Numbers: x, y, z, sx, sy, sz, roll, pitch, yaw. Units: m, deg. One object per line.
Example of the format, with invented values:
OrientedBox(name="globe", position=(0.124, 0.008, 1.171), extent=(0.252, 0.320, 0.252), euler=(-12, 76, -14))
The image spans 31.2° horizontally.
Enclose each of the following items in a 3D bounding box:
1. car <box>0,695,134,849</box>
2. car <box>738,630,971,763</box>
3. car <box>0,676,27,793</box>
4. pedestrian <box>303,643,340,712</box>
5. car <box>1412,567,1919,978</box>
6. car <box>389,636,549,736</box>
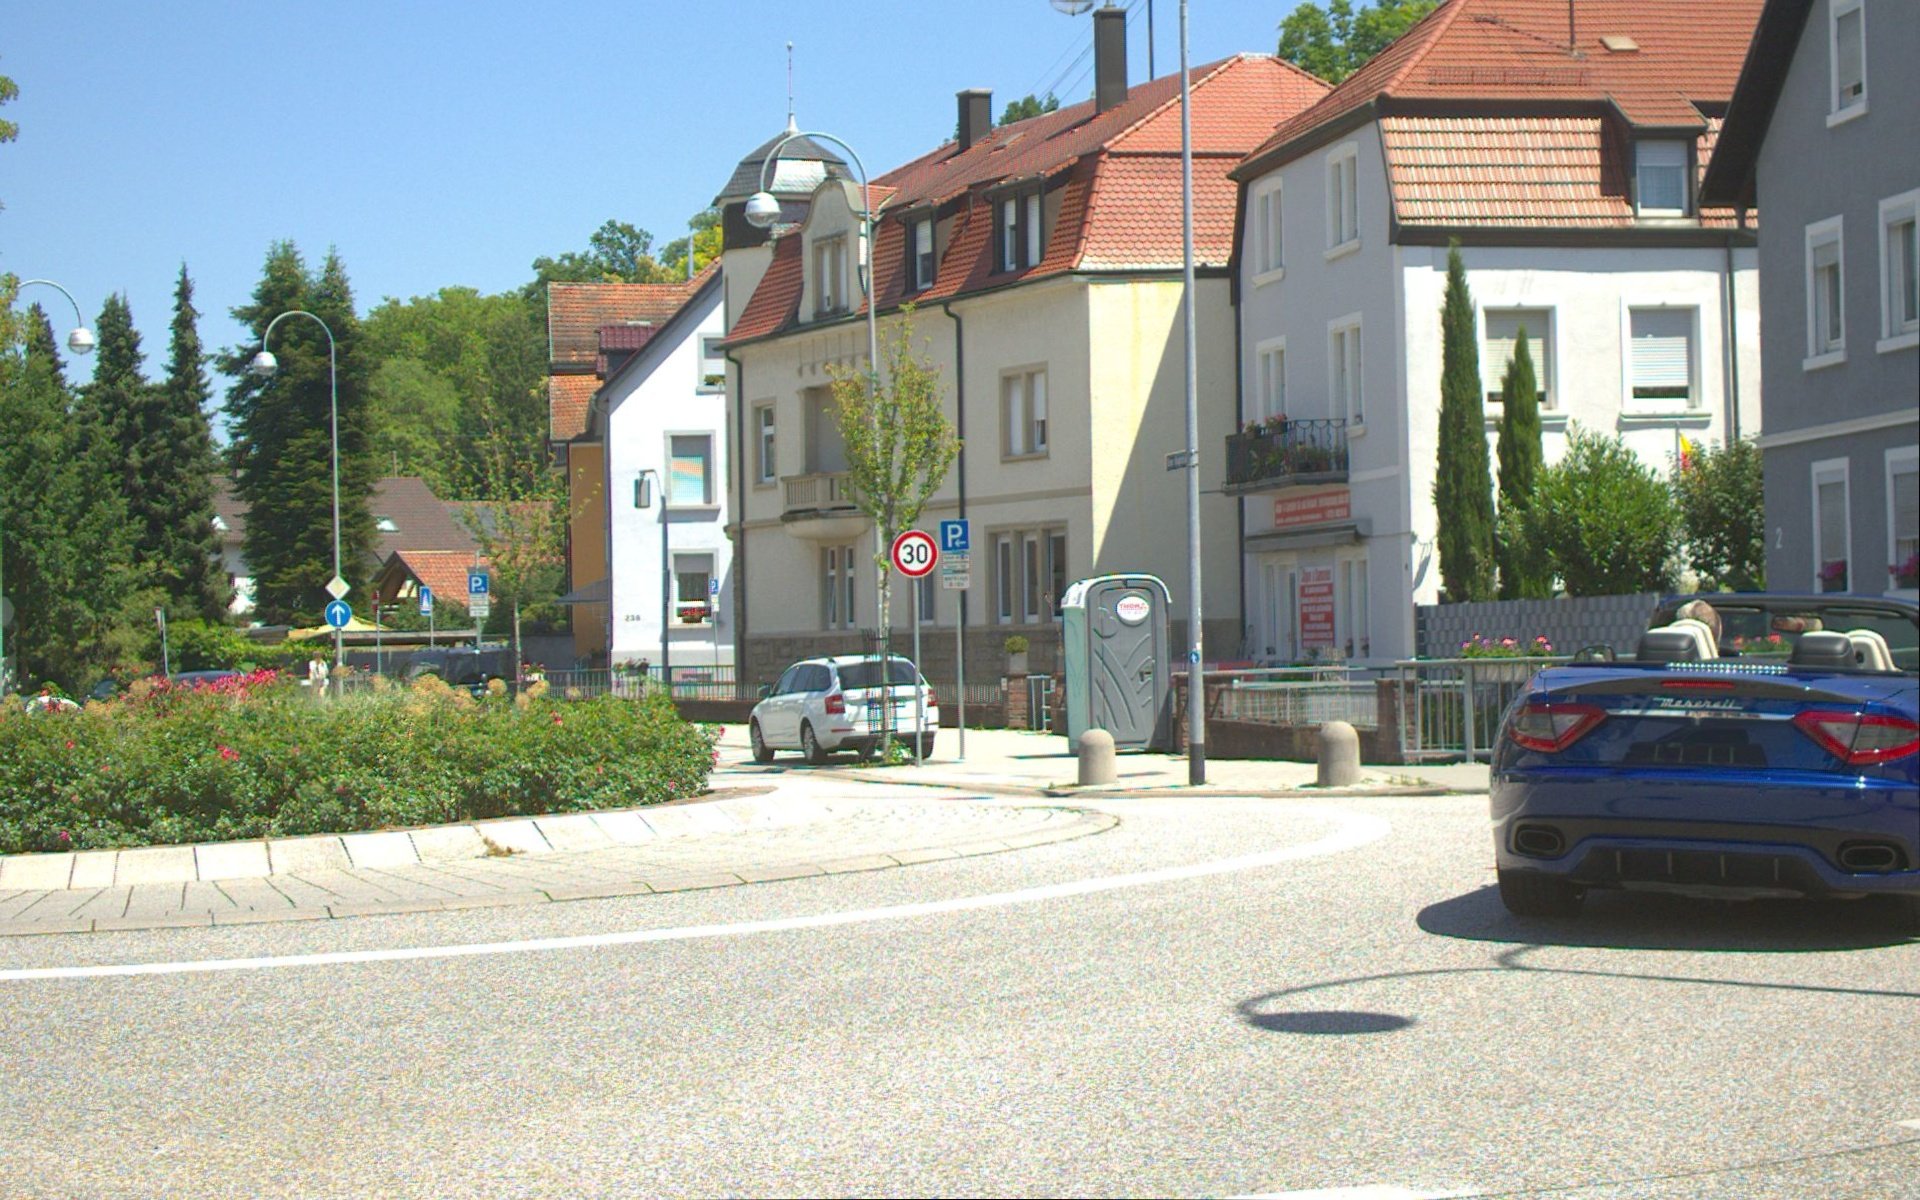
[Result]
OrientedBox(name="car", position=(-9.953, 1.726, 33.369), extent=(1.928, 1.377, 4.285), euler=(-3, 0, 14))
OrientedBox(name="car", position=(-1.535, 1.337, 48.095), extent=(1.993, 1.579, 4.288), euler=(-6, 0, -18))
OrientedBox(name="car", position=(-14.197, 1.868, 47.920), extent=(1.795, 1.584, 4.001), euler=(1, -1, -8))
OrientedBox(name="pedestrian", position=(-16.901, 2.056, 90.974), extent=(0.842, 1.808, 0.549), euler=(1, 0, -23))
OrientedBox(name="car", position=(3.564, 0.607, 15.026), extent=(1.978, 1.393, 4.622), euler=(2, 2, 23))
OrientedBox(name="car", position=(-10.008, 1.710, 69.826), extent=(1.993, 1.859, 4.288), euler=(1, 1, -26))
